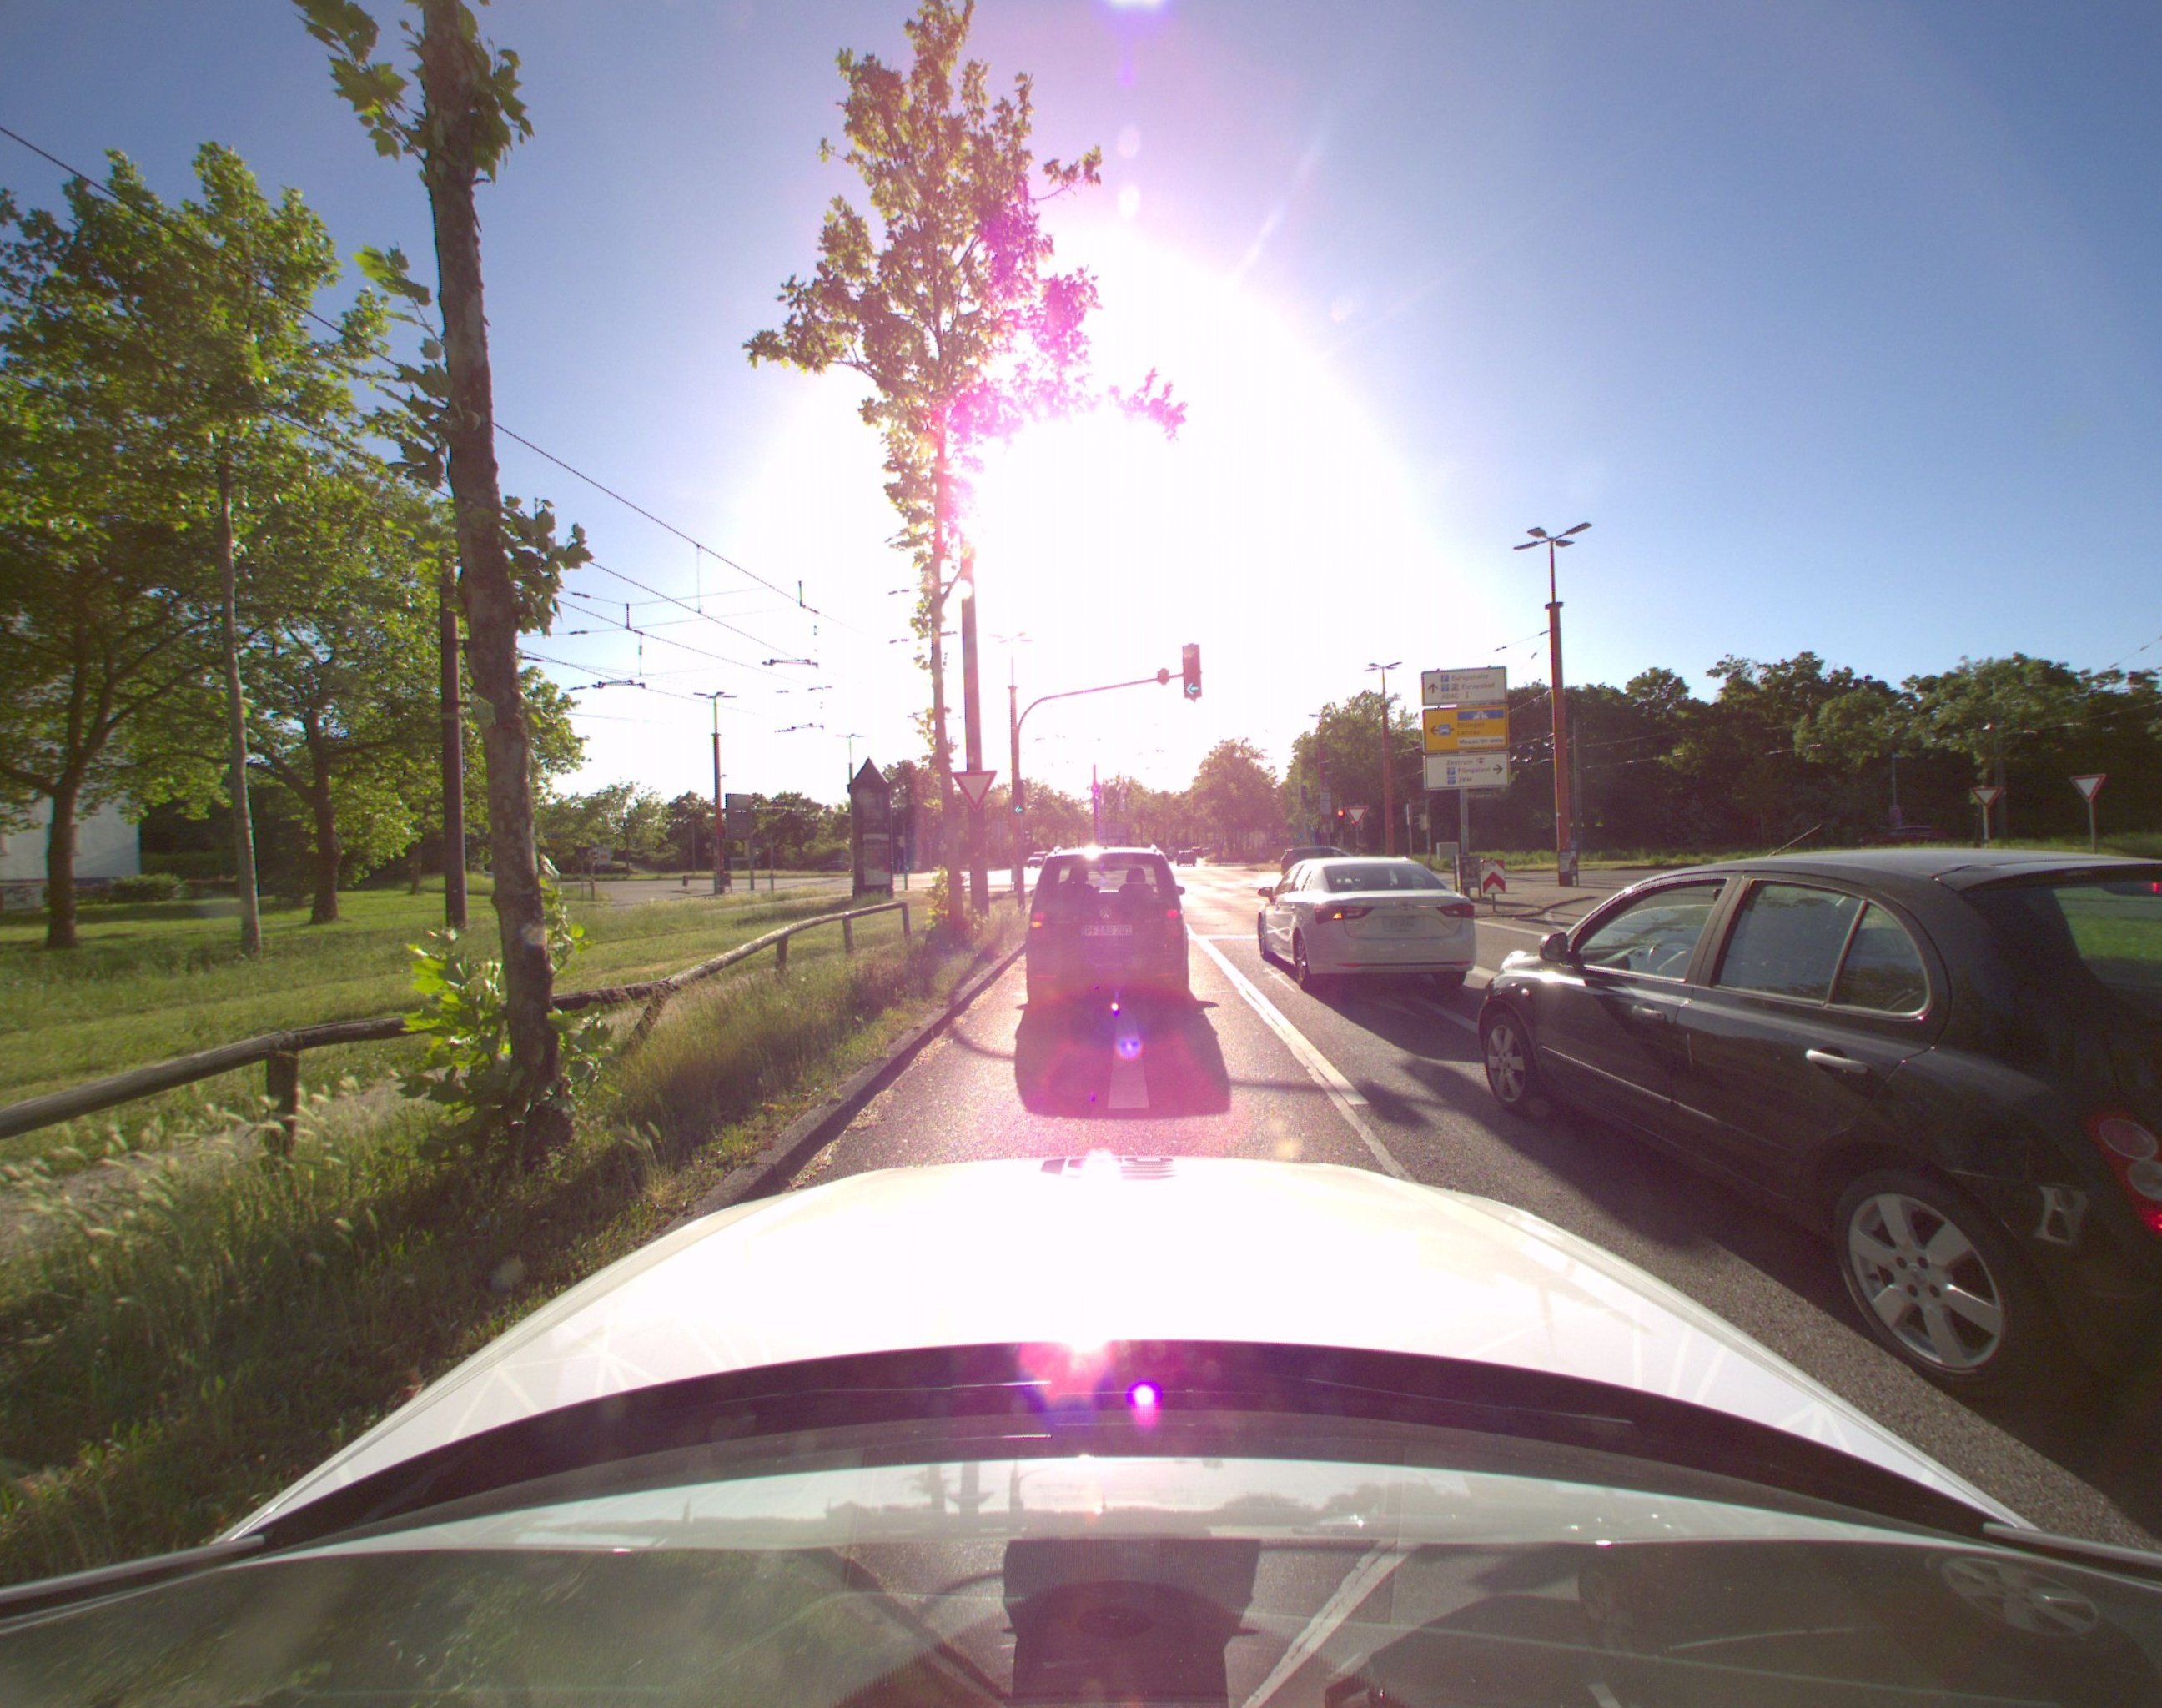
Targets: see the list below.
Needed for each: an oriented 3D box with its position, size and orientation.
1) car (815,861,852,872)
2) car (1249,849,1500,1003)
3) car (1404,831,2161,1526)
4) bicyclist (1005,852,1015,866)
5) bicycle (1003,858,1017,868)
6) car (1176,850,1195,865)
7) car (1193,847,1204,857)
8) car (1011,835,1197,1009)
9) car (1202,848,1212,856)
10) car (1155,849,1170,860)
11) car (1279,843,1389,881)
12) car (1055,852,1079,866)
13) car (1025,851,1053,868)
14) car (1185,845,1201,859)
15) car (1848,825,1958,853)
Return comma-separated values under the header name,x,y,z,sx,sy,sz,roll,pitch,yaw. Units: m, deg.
name,x,y,z,sx,sy,sz,roll,pitch,yaw
car,-29.563,1.473,97.190,3.950,1.266,1.955,-2,0,26
car,3.323,0.698,10.174,1.760,1.464,4.370,-2,0,3
car,3.263,0.673,3.881,1.728,1.482,4.625,-2,0,2
bicyclist,-8.268,0.603,94.721,0.753,1.557,0.986,-2,1,19
bicycle,-8.271,1.081,94.647,0.757,1.091,2.025,-2,1,19
car,10.235,0.350,79.982,1.781,1.388,4.056,-1,1,5
car,18.587,-0.268,128.866,1.780,1.502,4.059,-1,1,8
car,0.321,0.643,10.352,1.761,1.644,4.926,-2,0,2
car,22.887,-0.377,148.352,1.779,1.388,4.060,-1,1,9
car,11.080,0.080,110.550,1.779,1.388,4.060,-1,1,9
car,12.096,0.392,39.015,4.633,1.704,2.012,-2,0,29
car,-1.575,0.539,91.617,1.756,1.538,4.104,-2,0,11
car,-4.804,0.612,93.809,1.889,1.726,4.669,-2,0,12
car,13.536,-0.273,98.504,1.862,1.627,4.008,0,-1,7
car,49.224,-0.910,48.912,4.234,1.495,2.013,-2,0,29
